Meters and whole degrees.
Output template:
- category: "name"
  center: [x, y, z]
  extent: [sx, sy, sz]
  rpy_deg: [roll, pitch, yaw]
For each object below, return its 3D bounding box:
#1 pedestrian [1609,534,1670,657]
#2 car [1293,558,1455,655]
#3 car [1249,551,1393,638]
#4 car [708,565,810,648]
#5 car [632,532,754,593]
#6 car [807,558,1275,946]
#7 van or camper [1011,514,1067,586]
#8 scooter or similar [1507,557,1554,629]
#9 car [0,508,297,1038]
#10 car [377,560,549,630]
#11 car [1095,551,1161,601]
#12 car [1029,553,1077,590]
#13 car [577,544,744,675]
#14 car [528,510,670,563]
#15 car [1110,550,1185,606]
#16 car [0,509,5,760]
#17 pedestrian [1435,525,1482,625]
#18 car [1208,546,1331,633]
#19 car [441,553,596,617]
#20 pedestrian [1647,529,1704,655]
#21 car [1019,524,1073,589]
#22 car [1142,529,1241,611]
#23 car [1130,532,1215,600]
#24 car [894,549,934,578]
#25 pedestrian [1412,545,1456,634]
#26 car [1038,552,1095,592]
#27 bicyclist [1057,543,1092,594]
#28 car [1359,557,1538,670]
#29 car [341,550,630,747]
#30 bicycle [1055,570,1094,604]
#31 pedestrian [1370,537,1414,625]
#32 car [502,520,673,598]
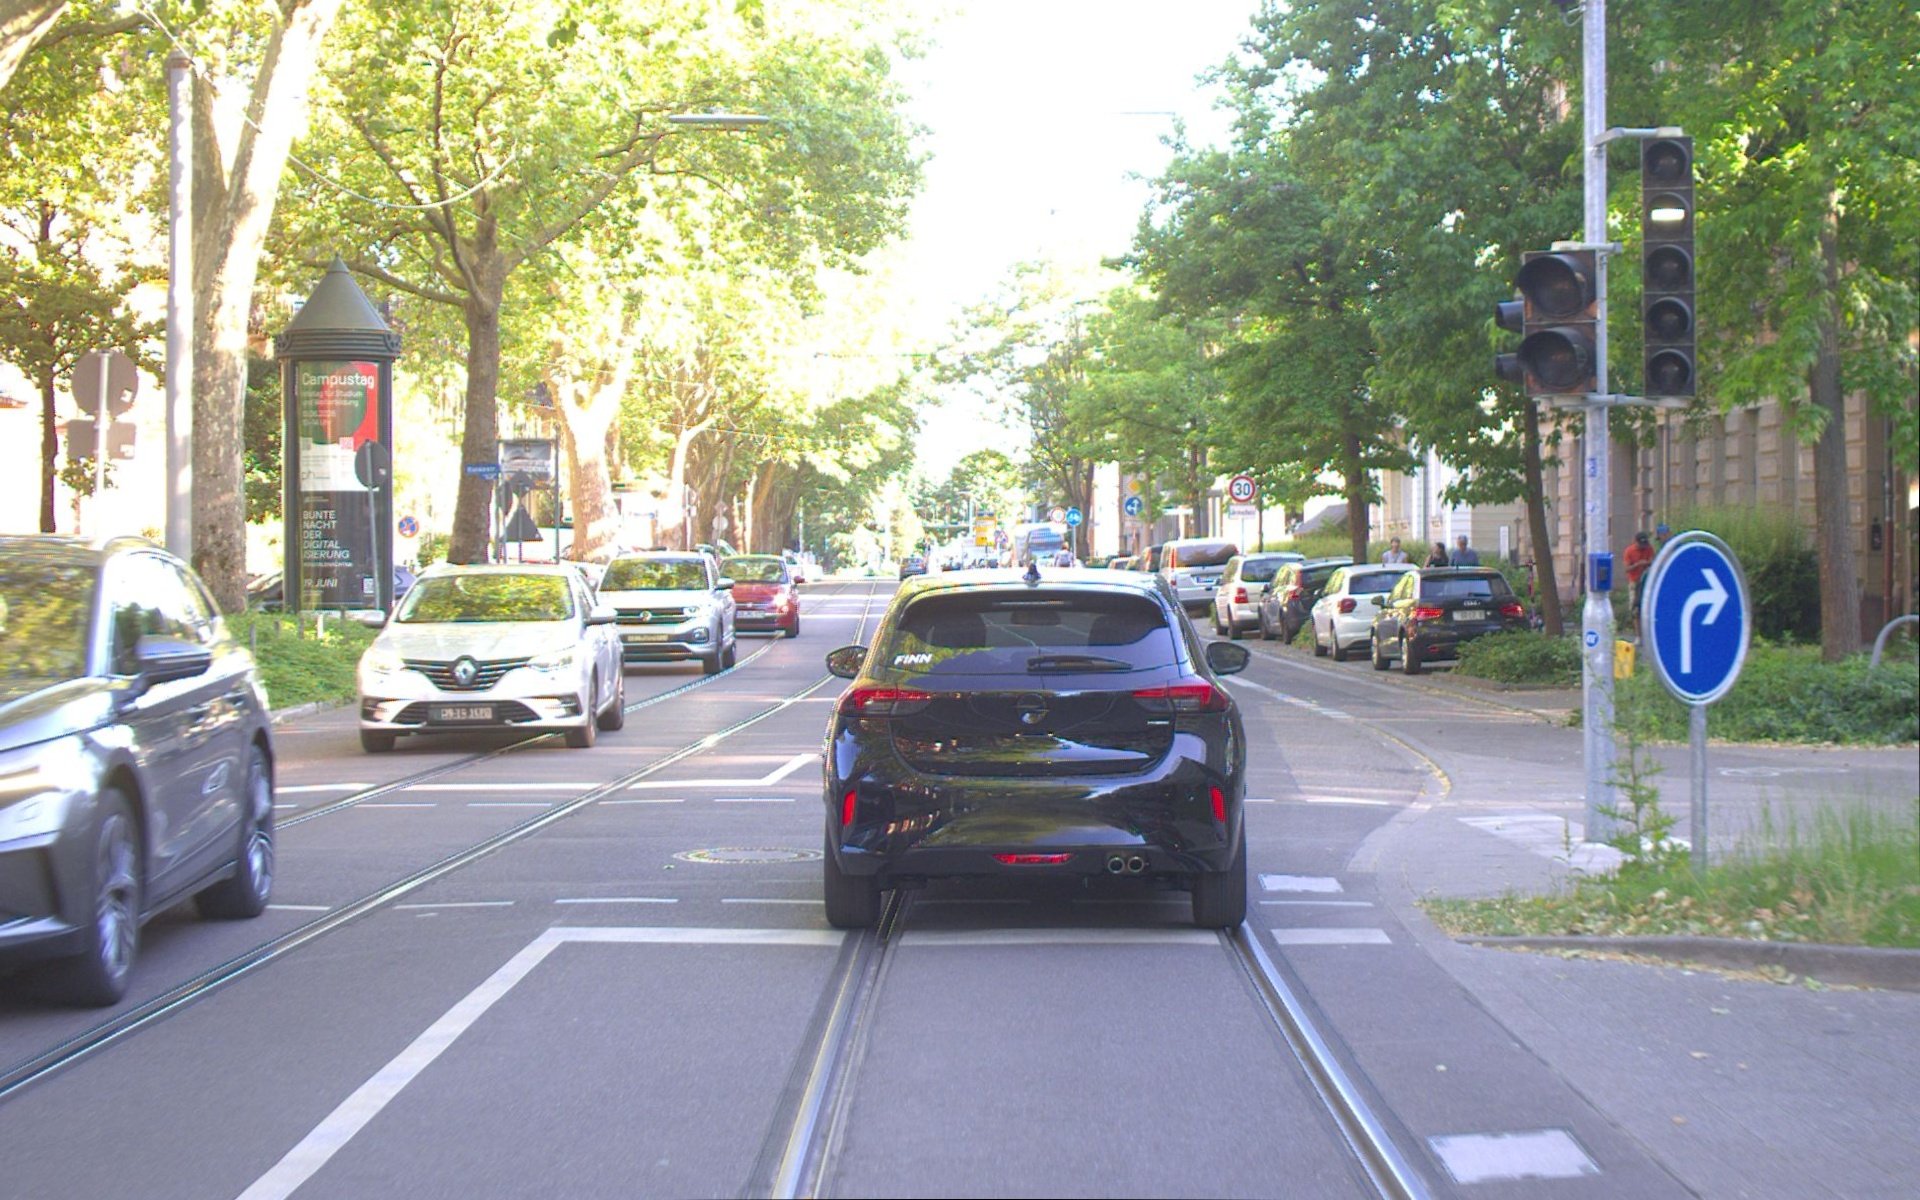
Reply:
- category: "pedestrian"
  center: [9.943, -0.071, 50.299]
  extent: [0.727, 1.787, 0.599]
  rpy_deg: [1, 0, 25]
- category: "car"
  center: [6.398, 0.076, 53.512]
  extent: [1.884, 1.363, 4.107]
  rpy_deg: [-3, 1, -1]
- category: "car"
  center: [6.562, -0.119, 62.891]
  extent: [1.884, 1.462, 4.594]
  rpy_deg: [-3, 1, -3]
- category: "car"
  center: [-3.639, 0.103, 62.753]
  extent: [1.660, 1.439, 3.473]
  rpy_deg: [1, 1, 0]
- category: "car"
  center: [-11.588, -1.629, 149.609]
  extent: [5.036, 2.366, 2.081]
  rpy_deg: [-3, 1, -1]
- category: "car"
  center: [0.274, 0.561, 15.054]
  extent: [1.763, 1.455, 3.950]
  rpy_deg: [1, 1, -1]
- category: "van or camper"
  center: [3.584, -2.261, 156.968]
  extent: [2.254, 3.205, 5.531]
  rpy_deg: [-1, 1, -1]
- category: "scooter or similar"
  center: [9.922, -0.125, 59.818]
  extent: [0.576, 1.242, 1.335]
  rpy_deg: [1, 0, 0]
- category: "car"
  center: [-3.749, 0.532, 12.743]
  extent: [1.908, 1.632, 4.321]
  rpy_deg: [-1, 1, -3]
- category: "car"
  center: [-10.672, -0.113, 73.961]
  extent: [3.420, 1.460, 1.697]
  rpy_deg: [1, 0, 1]
- category: "car"
  center: [5.208, -0.754, 107.013]
  extent: [1.702, 1.418, 3.978]
  rpy_deg: [-3, 1, -1]
- category: "car"
  center: [3.853, -1.184, 143.210]
  extent: [1.803, 1.429, 4.000]
  rpy_deg: [-1, 0, -1]
- category: "car"
  center: [-3.811, 0.092, 44.325]
  extent: [1.815, 1.563, 4.116]
  rpy_deg: [-1, 1, -1]
- category: "car"
  center: [-11.195, -1.957, 106.846]
  extent: [4.299, 1.601, 1.926]
  rpy_deg: [0, 1, -3]
- category: "car"
  center: [5.336, -0.632, 98.288]
  extent: [1.711, 1.509, 4.037]
  rpy_deg: [-2, 1, -2]
- category: "car"
  center: [-9.248, 0.233, 24.117]
  extent: [4.570, 1.828, 1.939]
  rpy_deg: [1, 0, -2]
- category: "pedestrian"
  center: [9.032, -0.456, 62.272]
  extent: [0.726, 1.787, 0.600]
  rpy_deg: [1, 0, -1]
- category: "car"
  center: [6.061, -0.220, 67.644]
  extent: [1.884, 1.562, 4.242]
  rpy_deg: [-2, 1, -1]
- category: "car"
  center: [-10.442, -0.357, 81.463]
  extent: [3.420, 1.460, 1.759]
  rpy_deg: [1, 0, 1]
- category: "pedestrian"
  center: [10.300, -0.121, 49.511]
  extent: [0.598, 1.787, 0.728]
  rpy_deg: [1, 0, -4]
- category: "car"
  center: [3.750, -1.919, 150.407]
  extent: [2.085, 2.762, 4.698]
  rpy_deg: [-1, 1, -1]
- category: "car"
  center: [5.565, -0.722, 83.230]
  extent: [1.884, 1.845, 4.968]
  rpy_deg: [-2, 1, -1]
- category: "car"
  center: [5.691, -0.911, 92.382]
  extent: [1.885, 1.760, 4.678]
  rpy_deg: [-1, 1, -1]
- category: "car"
  center: [-3.111, -2.446, 231.379]
  extent: [2.254, 1.834, 5.532]
  rpy_deg: [-1, 1, -4]
- category: "pedestrian"
  center: [9.194, -0.211, 66.759]
  extent: [0.726, 1.703, 0.856]
  rpy_deg: [1, 0, 1]
- category: "car"
  center: [4.106, -1.098, 133.057]
  extent: [1.884, 1.429, 4.530]
  rpy_deg: [-3, 1, -1]
- category: "bicyclist"
  center: [3.400, -0.944, 102.196]
  extent: [0.958, 1.494, 1.094]
  rpy_deg: [1, 0, -2]
- category: "car"
  center: [6.623, 0.165, 46.963]
  extent: [1.672, 1.407, 3.843]
  rpy_deg: [-3, 1, -3]
- category: "car"
  center: [-3.763, 0.343, 27.887]
  extent: [1.775, 1.456, 4.204]
  rpy_deg: [1, 1, 0]
- category: "bicycle"
  center: [3.395, -0.398, 102.229]
  extent: [0.968, 0.995, 2.583]
  rpy_deg: [1, 1, -3]
- category: "pedestrian"
  center: [8.378, -0.363, 66.759]
  extent: [0.726, 1.687, 0.957]
  rpy_deg: [1, 0, 1]
- category: "car"
  center: [-11.210, -1.246, 103.731]
  extent: [5.032, 2.251, 2.086]
  rpy_deg: [1, 1, -4]
